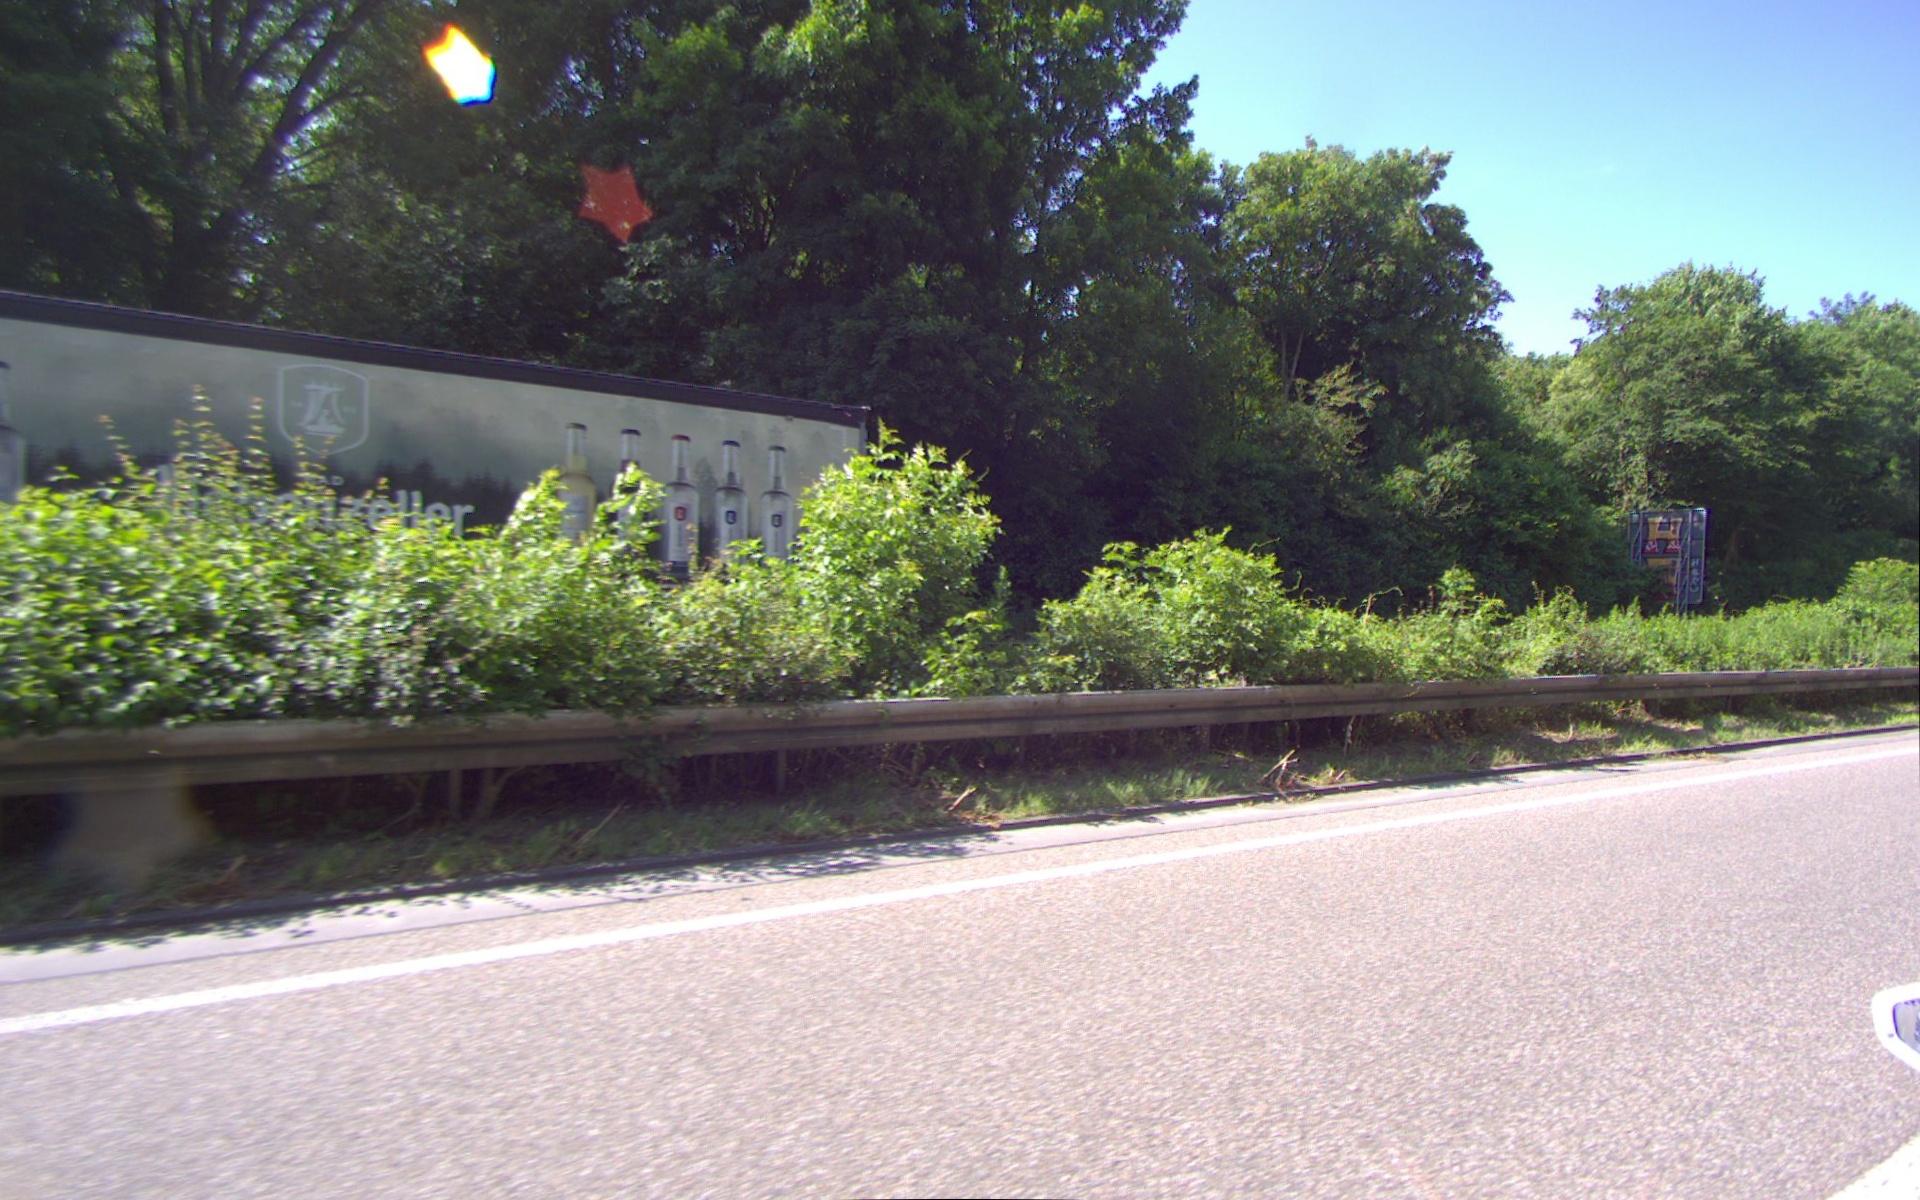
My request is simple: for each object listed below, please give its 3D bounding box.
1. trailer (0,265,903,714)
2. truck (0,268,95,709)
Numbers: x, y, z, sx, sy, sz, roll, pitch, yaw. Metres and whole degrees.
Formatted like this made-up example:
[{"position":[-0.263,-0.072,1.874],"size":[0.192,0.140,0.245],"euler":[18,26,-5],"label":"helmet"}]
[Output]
[{"position":[-7.395,-0.994,12.547],"size":[13.505,4.357,2.815],"euler":[2,0,-31],"label":"trailer"},{"position":[-12.697,-1.187,9.396],"size":[6.461,4.300,2.704],"euler":[2,0,-31],"label":"truck"}]
